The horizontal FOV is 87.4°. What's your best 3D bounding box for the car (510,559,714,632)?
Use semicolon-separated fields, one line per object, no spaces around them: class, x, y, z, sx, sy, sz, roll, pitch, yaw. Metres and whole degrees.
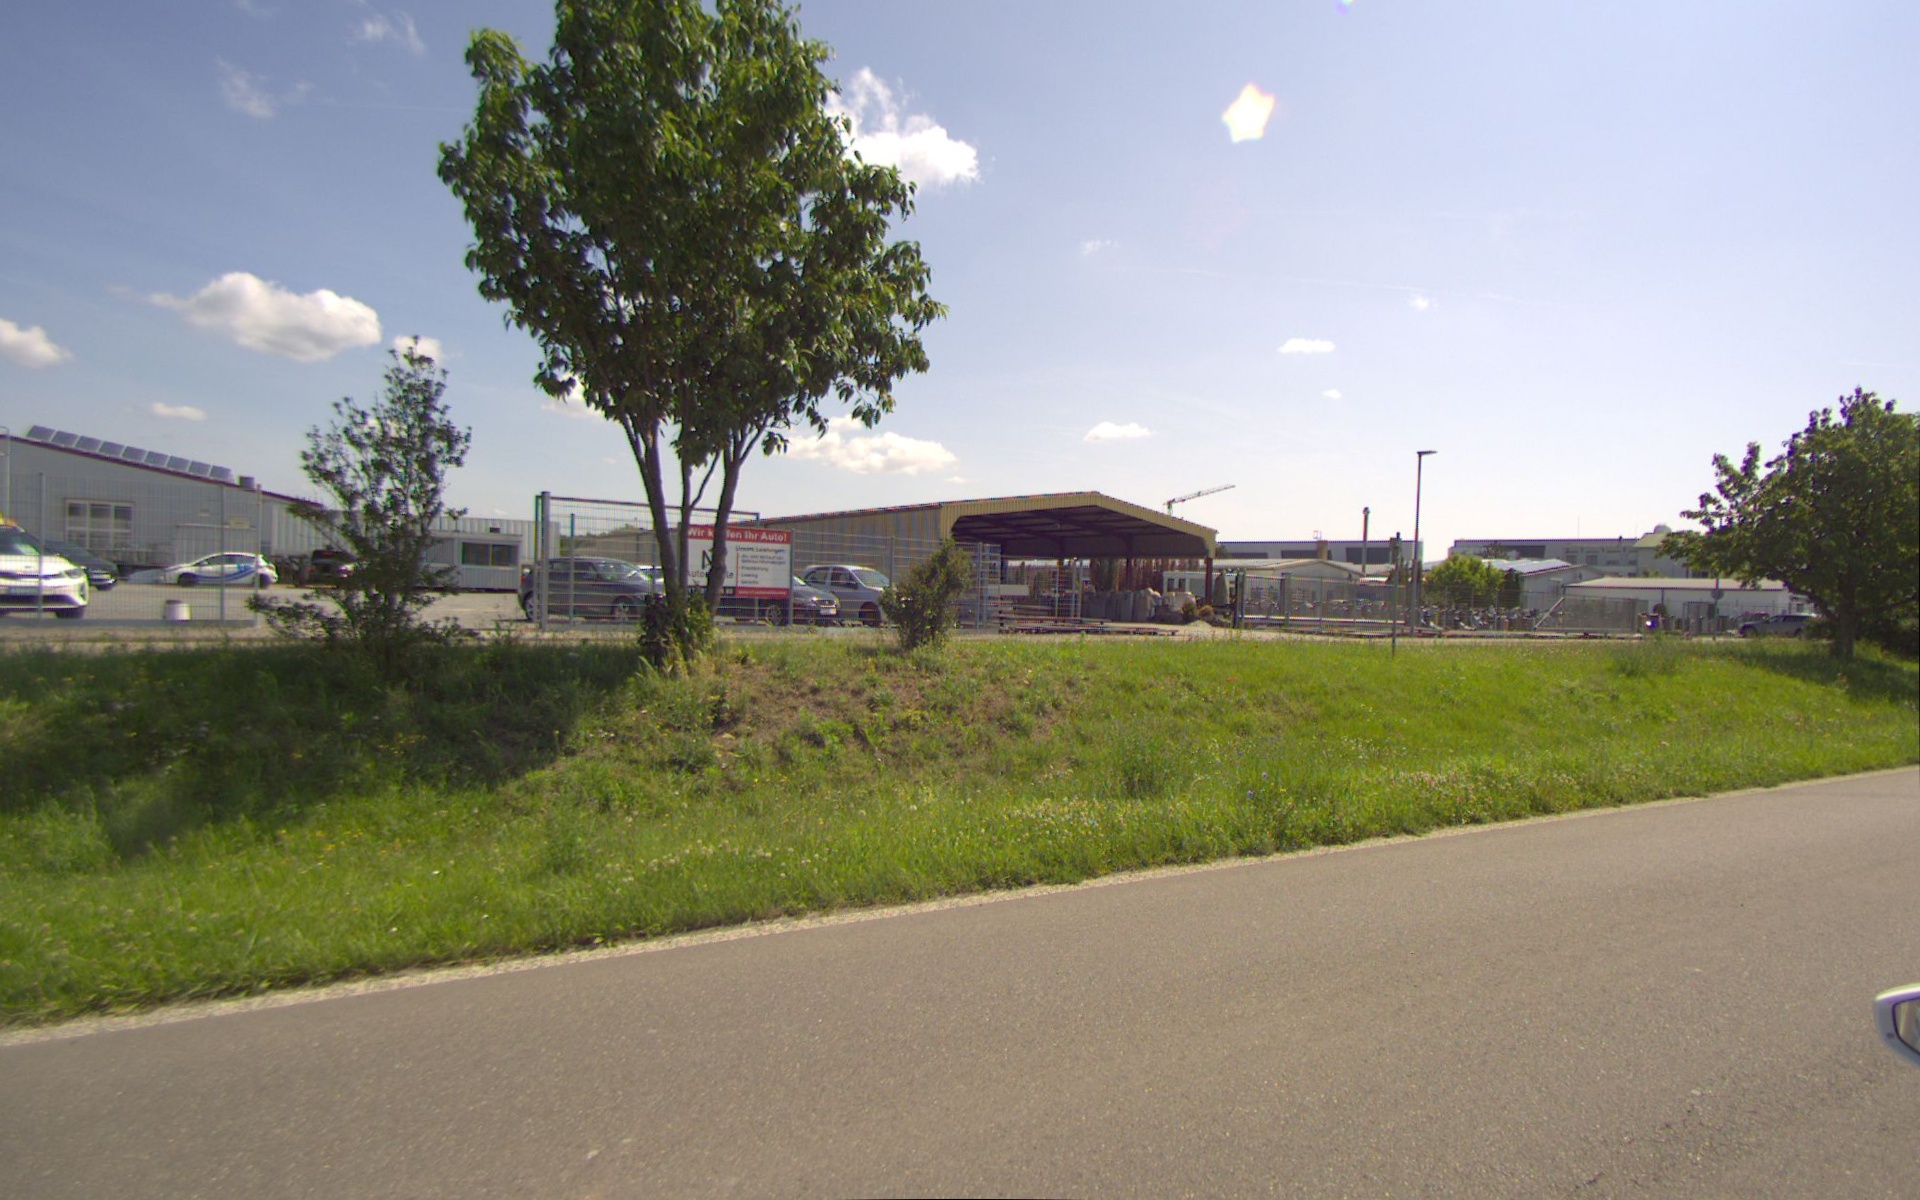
car;-7.458;-0.125;21.505;3.926;1.328;1.940;3;1;28

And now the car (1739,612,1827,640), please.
car;52.579;1.659;64.208;1.980;1.548;3.960;1;1;-35

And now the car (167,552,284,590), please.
car;-31.301;-1.235;42.843;3.966;1.461;1.861;1;1;-39

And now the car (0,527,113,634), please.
car;-15.605;-0.372;15.974;3.926;1.561;1.940;3;2;28

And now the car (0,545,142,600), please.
car;-28.656;-0.881;31.757;3.921;1.594;1.942;2;1;-1

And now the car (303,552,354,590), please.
car;-30.496;-1.417;48.527;1.978;1.717;3.964;1;1;-32

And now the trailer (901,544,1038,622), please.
trailer;0.279;-0.712;40.492;2.715;2.863;5.522;1;1;-36

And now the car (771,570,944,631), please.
car;-2.607;-0.016;25.408;3.926;1.328;1.940;3;1;28

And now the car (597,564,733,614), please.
car;-9.850;-0.359;33.855;1.964;1.506;4.240;3;1;29

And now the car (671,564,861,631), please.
car;-4.481;-0.095;23.133;3.926;1.328;1.940;3;1;28
